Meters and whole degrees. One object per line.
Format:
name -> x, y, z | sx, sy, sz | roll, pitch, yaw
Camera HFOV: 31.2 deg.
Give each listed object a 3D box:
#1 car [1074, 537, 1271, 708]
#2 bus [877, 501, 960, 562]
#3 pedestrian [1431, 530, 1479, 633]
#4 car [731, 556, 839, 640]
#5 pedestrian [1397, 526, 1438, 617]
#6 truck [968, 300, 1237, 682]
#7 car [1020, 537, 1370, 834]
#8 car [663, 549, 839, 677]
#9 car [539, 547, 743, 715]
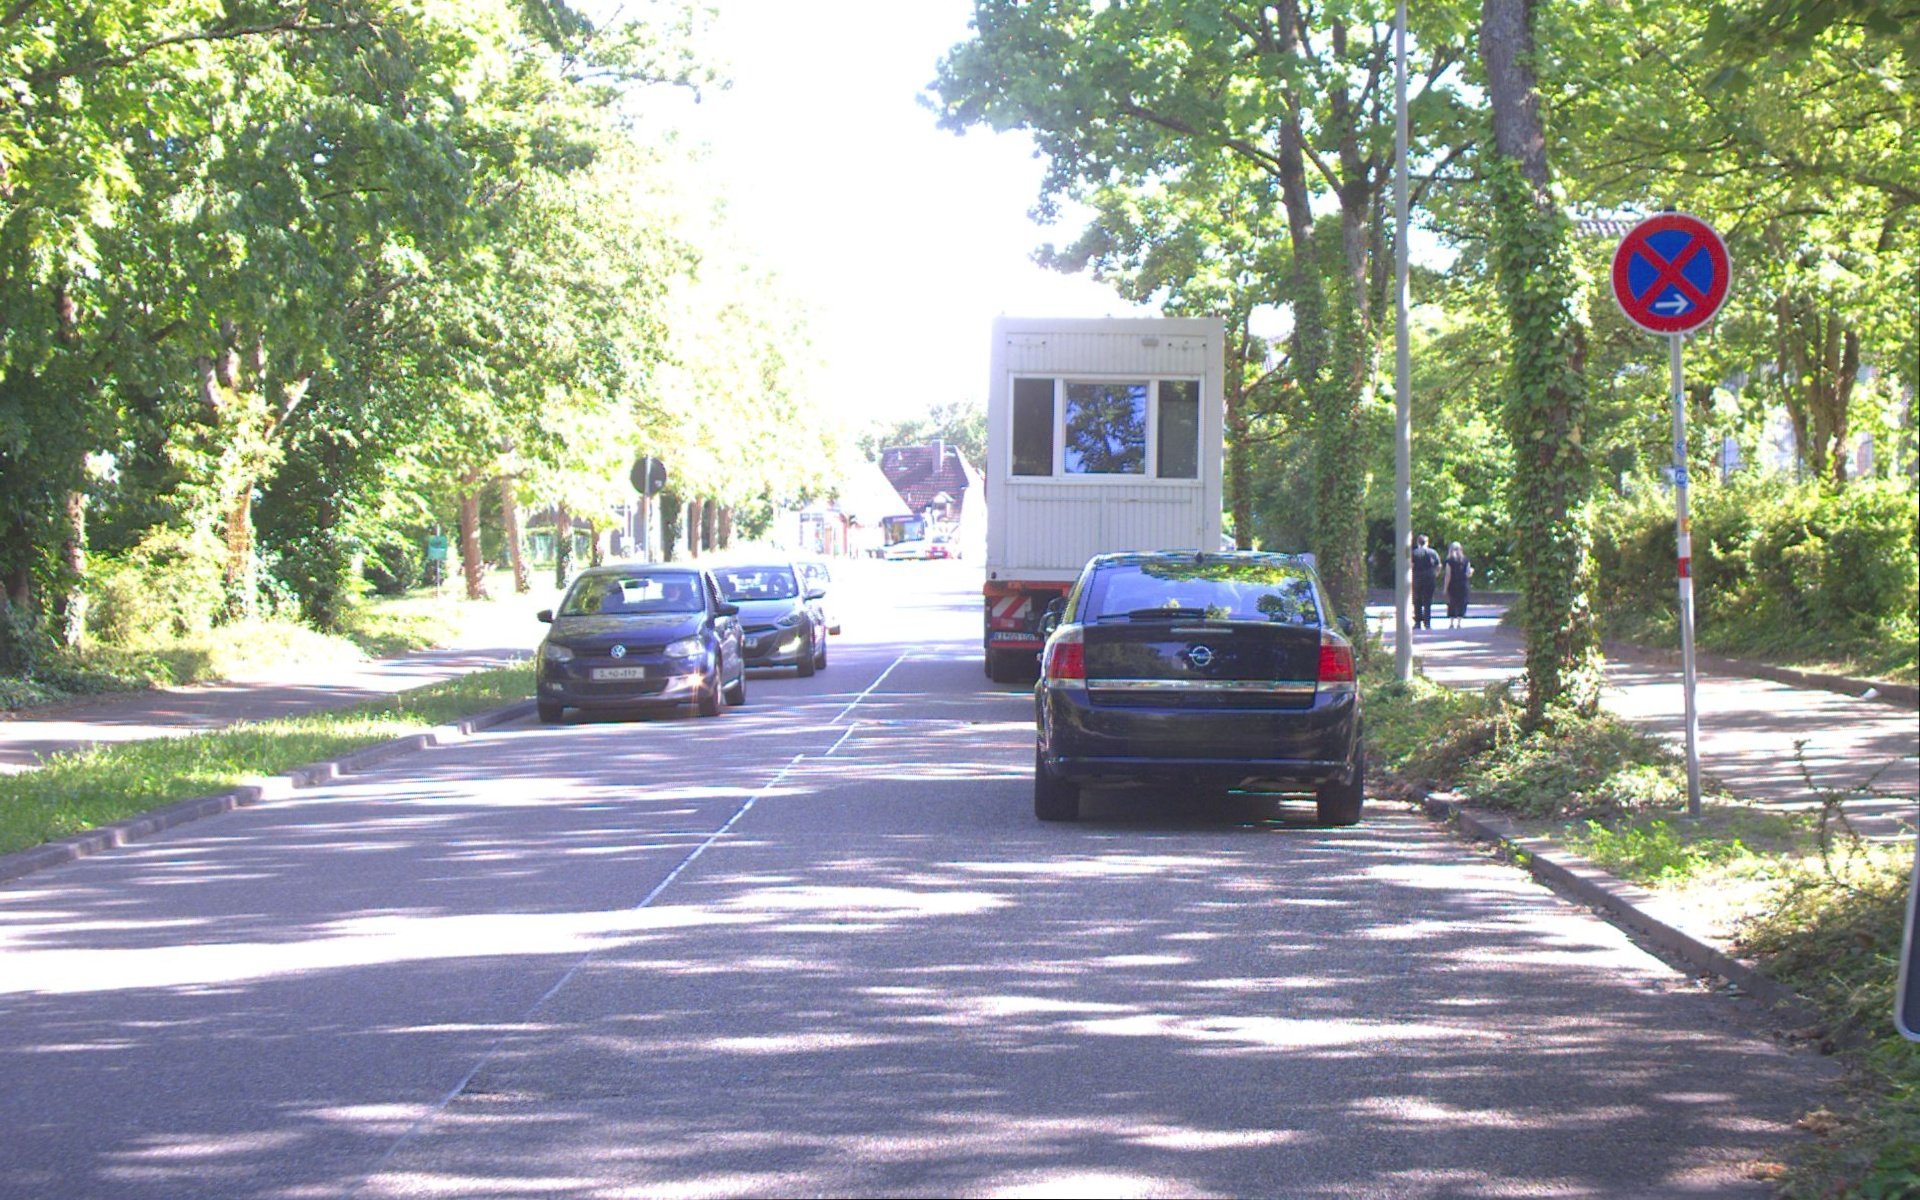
car -> 1.922, 0.158, 31.451 | 1.640, 1.415, 4.000 | -2, 1, 3
bus -> -2.331, -3.920, 196.577 | 4.065, 3.337, 9.800 | -1, 1, 3
pedestrian -> 8.825, -0.334, 61.313 | 0.698, 1.806, 0.700 | -1, 1, -2
car -> -3.196, -0.057, 63.364 | 1.786, 1.412, 4.105 | -2, 1, 0
pedestrian -> 8.155, -0.506, 61.284 | 0.598, 1.605, 0.600 | -1, 1, -2
truck -> 1.520, -1.245, 41.496 | 2.773, 3.982, 10.349 | 1, 1, 0
car -> 1.273, 0.418, 19.338 | 1.748, 1.475, 4.030 | 1, 0, 3
car -> -2.574, 0.121, 43.194 | 1.755, 1.449, 4.243 | -2, 1, 2
car -> -2.948, 0.248, 32.342 | 1.601, 1.421, 3.652 | -2, 1, -1
